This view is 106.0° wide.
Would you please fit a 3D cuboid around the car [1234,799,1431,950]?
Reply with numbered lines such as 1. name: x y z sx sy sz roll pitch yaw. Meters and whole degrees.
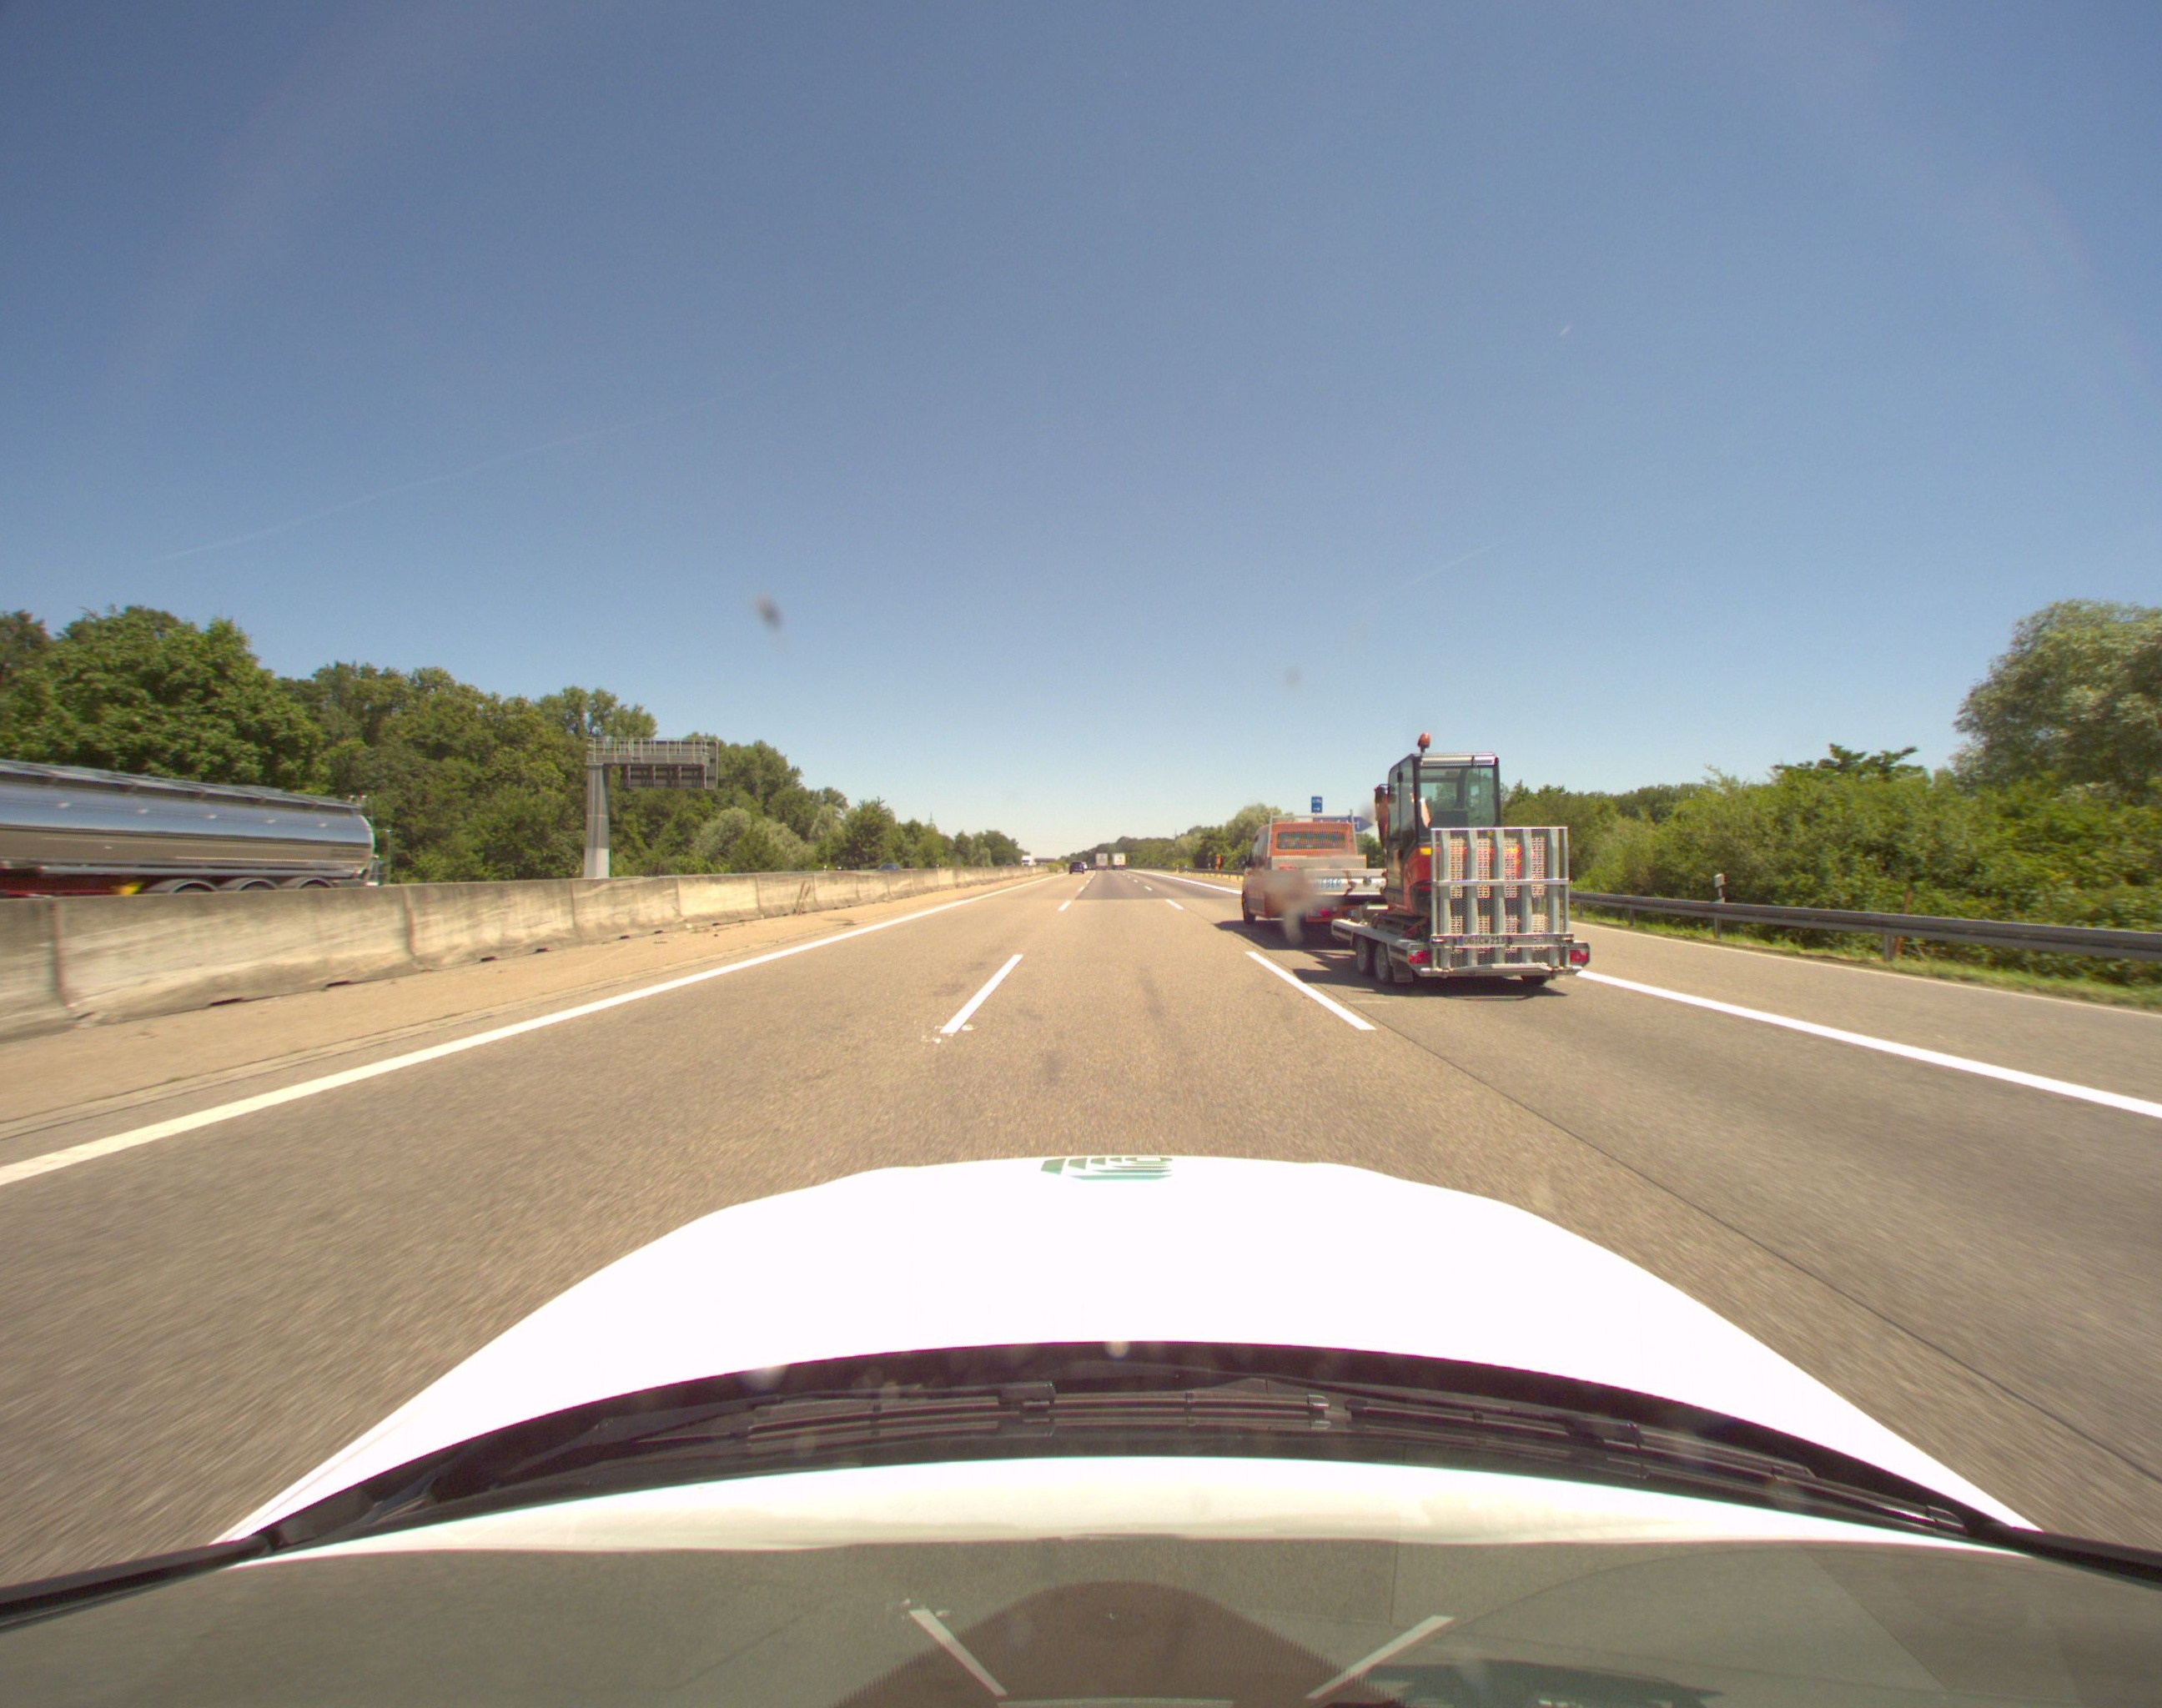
1. car: 4.680 0.349 16.588 1.986 2.405 7.229 0 -1 2

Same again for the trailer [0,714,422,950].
1. trailer: -19.947 -0.415 17.461 2.798 4.047 10.431 3 0 1

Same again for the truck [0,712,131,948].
1. truck: -20.019 -0.491 11.922 2.797 4.047 7.731 3 0 1

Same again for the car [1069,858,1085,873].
1. car: -0.489 1.528 109.143 1.986 1.874 4.001 0 -1 2

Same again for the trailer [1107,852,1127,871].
1. trailer: 8.440 1.792 192.154 3.361 4.143 9.079 3 0 -4

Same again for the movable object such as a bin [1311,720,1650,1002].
1. movable object such as a bin: 4.659 0.086 10.529 2.166 2.815 4.762 0 -1 2

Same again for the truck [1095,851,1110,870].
1. truck: 4.789 1.479 184.232 3.218 4.202 8.466 2 0 1

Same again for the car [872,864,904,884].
1. car: -19.554 1.991 82.822 1.985 2.014 4.432 0 -1 3

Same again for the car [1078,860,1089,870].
1. car: 0.501 2.084 158.345 1.986 1.874 4.000 1 -1 1

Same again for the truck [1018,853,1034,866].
1. truck: -16.361 1.614 243.662 3.586 3.735 17.483 0 -1 0
